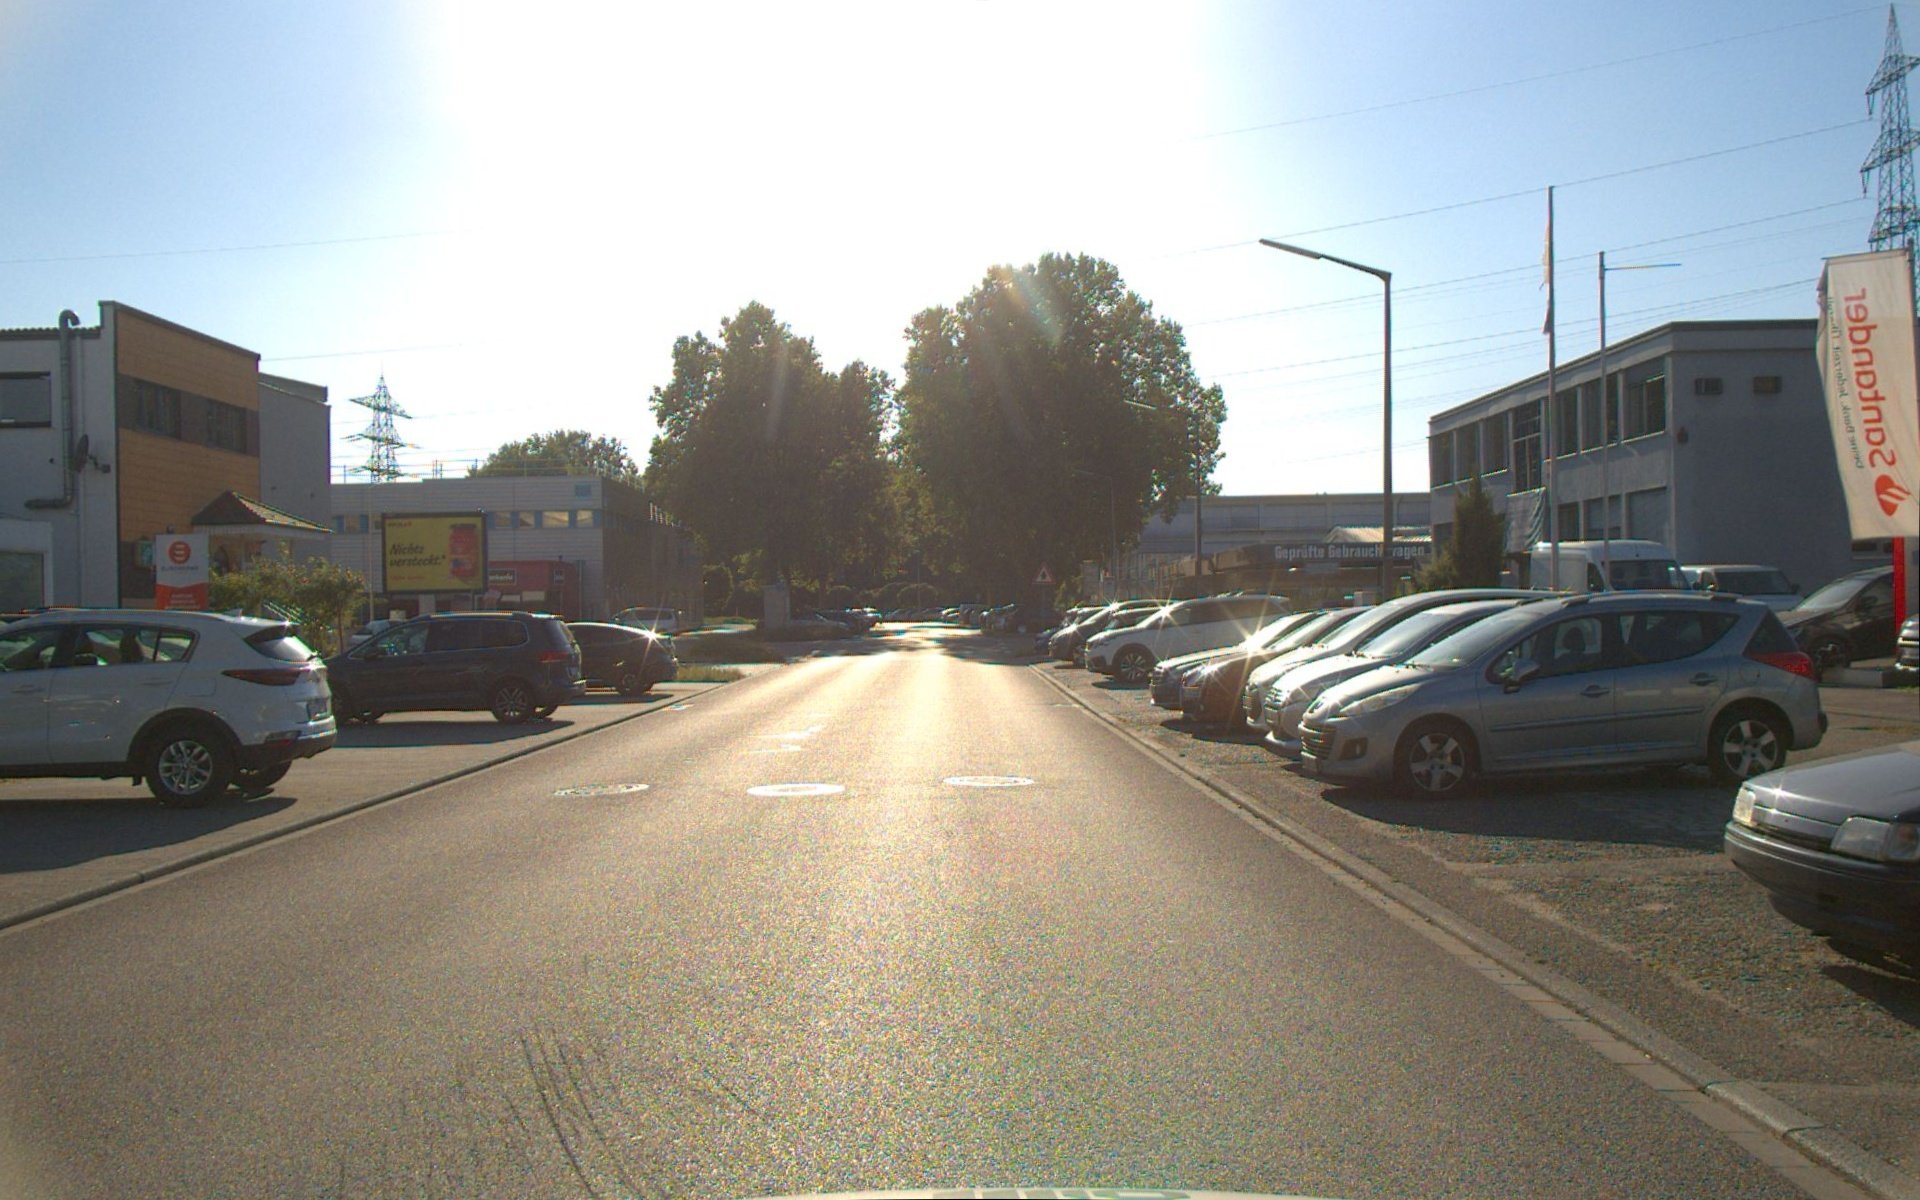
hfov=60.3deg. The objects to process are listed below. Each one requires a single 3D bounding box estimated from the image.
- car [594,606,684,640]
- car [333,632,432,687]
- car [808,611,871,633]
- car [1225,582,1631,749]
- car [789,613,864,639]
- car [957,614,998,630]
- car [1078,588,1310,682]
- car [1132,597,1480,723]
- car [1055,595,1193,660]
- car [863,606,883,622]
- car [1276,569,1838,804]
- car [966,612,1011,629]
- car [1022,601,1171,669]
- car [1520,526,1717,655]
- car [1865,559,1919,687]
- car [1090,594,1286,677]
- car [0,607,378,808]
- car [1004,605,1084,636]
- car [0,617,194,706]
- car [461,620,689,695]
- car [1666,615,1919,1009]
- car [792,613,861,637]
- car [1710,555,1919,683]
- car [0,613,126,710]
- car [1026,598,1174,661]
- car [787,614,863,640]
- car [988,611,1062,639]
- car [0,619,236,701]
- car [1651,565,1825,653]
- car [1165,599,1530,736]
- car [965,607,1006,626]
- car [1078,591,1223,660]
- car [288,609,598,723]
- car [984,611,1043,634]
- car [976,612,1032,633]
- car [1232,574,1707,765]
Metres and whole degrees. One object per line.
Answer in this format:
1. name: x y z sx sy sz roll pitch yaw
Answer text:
1. car: -17.248 1.251 88.834 4.555 1.771 1.991 0 -1 -17
2. car: -20.043 2.041 57.606 1.953 1.604 4.340 0 2 -1
3. car: -8.624 1.584 118.661 4.324 1.543 2.000 0 -1 1
4. car: 5.198 0.722 18.692 4.028 1.770 1.882 0 -1 -5
5. car: -7.876 1.531 97.644 4.326 1.543 1.999 0 -1 -2
6. car: 1.650 2.127 158.638 3.906 1.440 1.826 -2 -1 -1
7. car: 4.913 0.731 35.199 4.465 1.625 2.200 -4 -1 -4
8. car: 4.729 0.809 23.108 4.347 1.461 2.135 -3 -1 -2
9. car: 4.972 0.830 50.439 3.908 1.681 1.741 -4 -1 -3
10. car: -9.245 1.459 175.401 1.953 1.637 3.999 1 -1 -1
11. car: 4.803 0.667 13.675 3.909 1.615 1.866 -3 -1 -5
12. car: 2.507 1.810 146.129 3.906 1.440 1.826 -2 -1 -1
13. car: 3.759 0.958 45.168 3.902 1.641 2.001 -3 -1 6
14. car: 14.686 -0.156 37.353 1.953 2.671 6.135 0 -1 -1
15. car: 14.606 0.208 22.065 3.906 1.689 2.000 -3 -1 -1
16. car: 5.218 0.803 38.220 4.163 1.651 1.920 -3 -1 -2
17. car: -7.754 0.920 14.957 4.217 1.685 2.200 0 -1 -4
18. car: 4.219 1.027 83.347 3.906 1.440 1.999 -2 -1 -1
19. car: -16.586 1.118 30.568 3.906 1.583 1.999 0 -1 -1
20. car: -7.829 1.163 34.000 4.228 1.485 2.200 0 -1 -4
21. car: 5.169 0.684 6.601 3.904 1.319 1.784 -3 -1 2
22. car: -8.692 1.642 108.119 4.324 1.543 2.000 0 -1 1
23. car: 14.196 0.255 25.764 4.060 1.802 2.000 -3 -1 -1
24. car: -16.651 1.011 28.094 3.906 1.583 1.999 0 -1 -1
25. car: 4.449 0.940 52.986 4.435 1.702 1.752 -3 -1 -4
26. car: -7.812 1.558 95.500 4.330 1.427 1.997 0 -1 -6
27. car: 3.540 1.369 90.672 3.906 1.440 1.826 -2 -1 -1
28. car: -16.837 1.184 33.114 3.831 1.583 1.887 0 -1 -1
29. car: 17.136 0.223 36.651 1.953 1.830 3.999 0 -1 -1
30. car: 4.816 0.829 20.856 4.159 1.633 1.744 0 -1 -5
31. car: 2.490 1.617 162.254 3.906 1.808 1.826 -2 -1 -1
32. car: 5.510 0.733 48.241 3.906 1.681 1.800 -4 -1 0
33. car: -7.892 1.001 25.618 4.147 1.685 2.200 0 -1 -4
34. car: 3.607 1.501 111.553 3.906 1.440 1.826 -2 -1 -1
35. car: 3.093 1.602 117.523 3.906 1.405 1.826 -2 -1 -1
36. car: 4.952 0.653 16.479 4.028 1.646 2.057 -2 -1 -5
